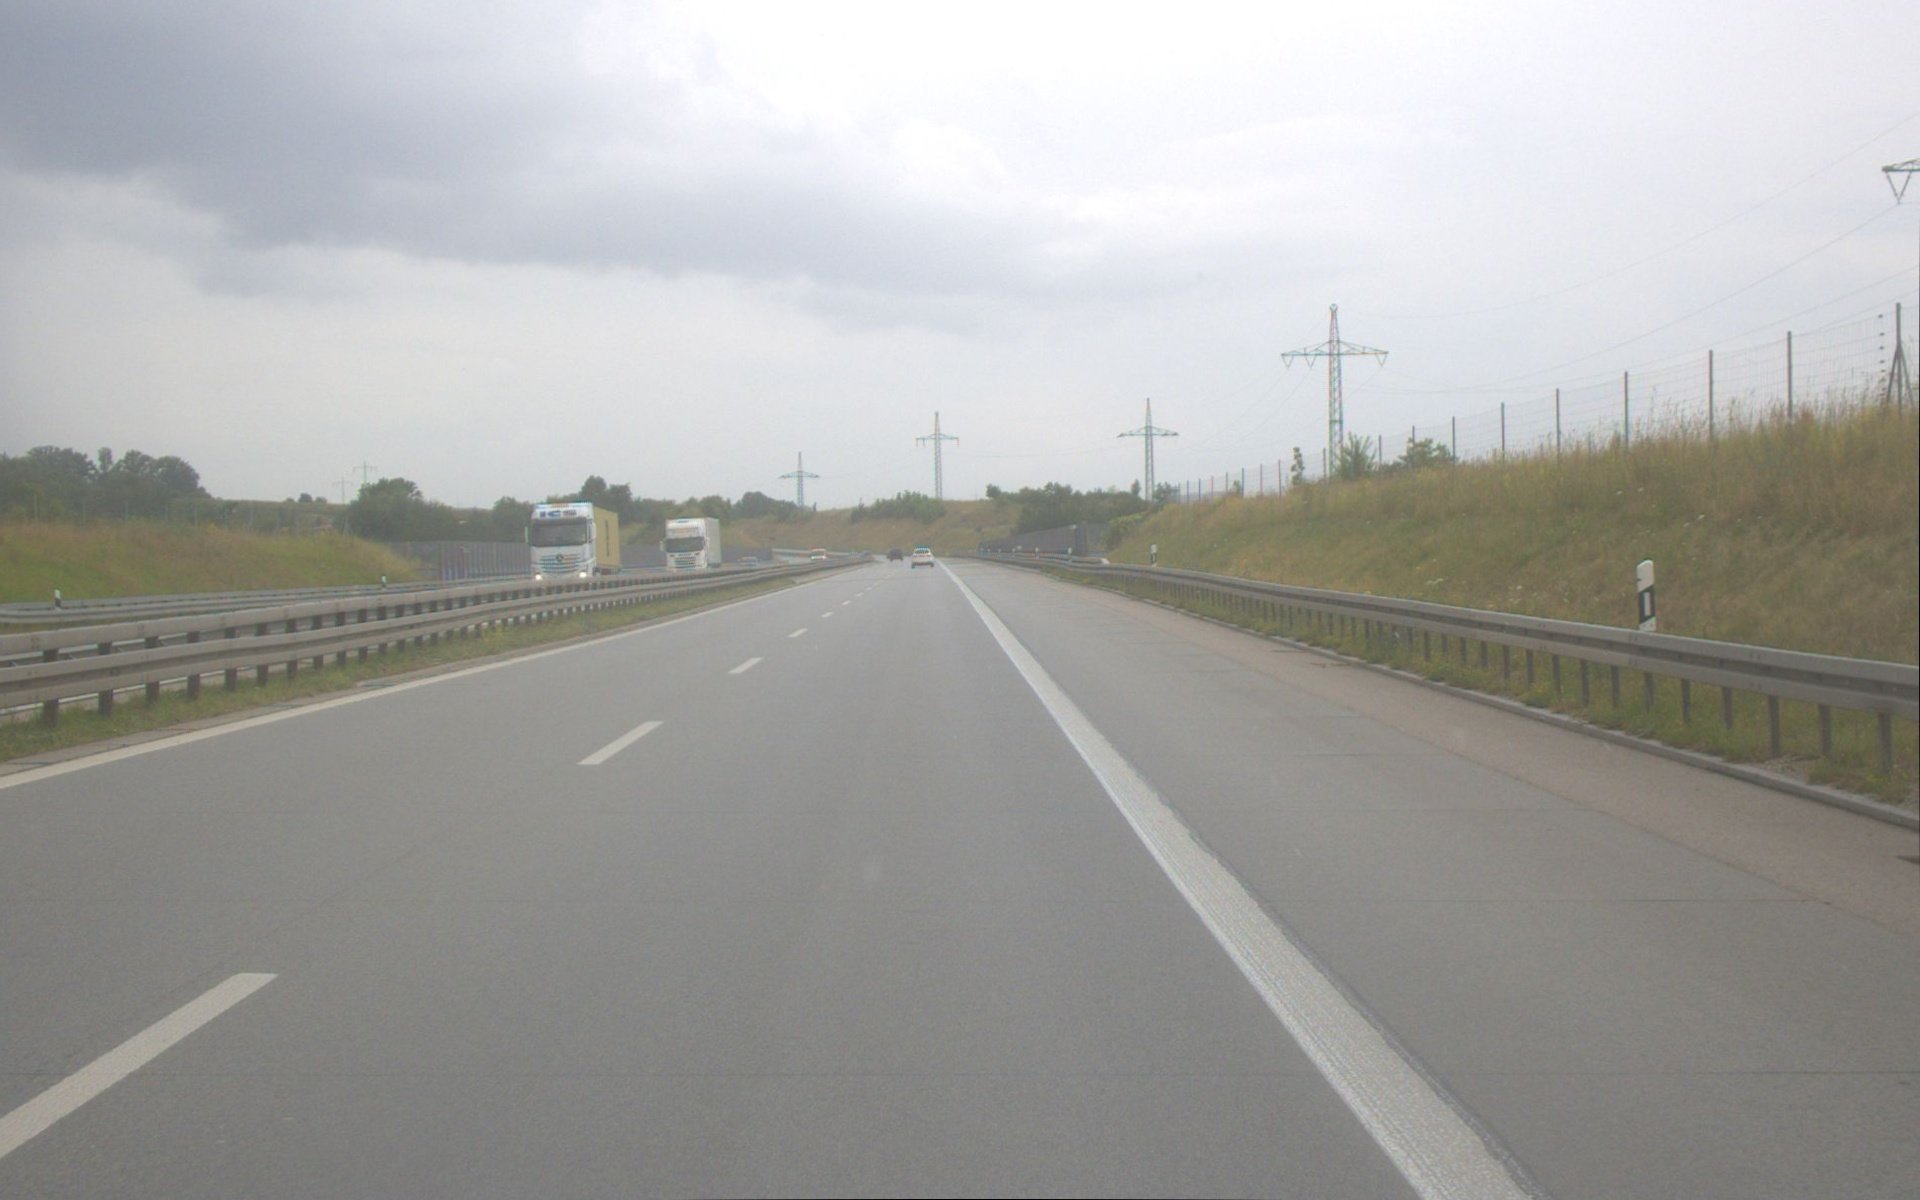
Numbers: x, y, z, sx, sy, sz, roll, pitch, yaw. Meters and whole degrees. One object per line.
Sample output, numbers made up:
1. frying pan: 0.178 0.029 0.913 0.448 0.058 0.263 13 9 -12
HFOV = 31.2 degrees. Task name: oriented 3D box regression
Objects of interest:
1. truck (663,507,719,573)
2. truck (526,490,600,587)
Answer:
1. truck: -16.687 -3.707 213.375 2.952 3.912 5.518 -2 1 0
2. truck: -16.682 -2.597 144.751 2.592 3.912 5.588 -2 1 -2
